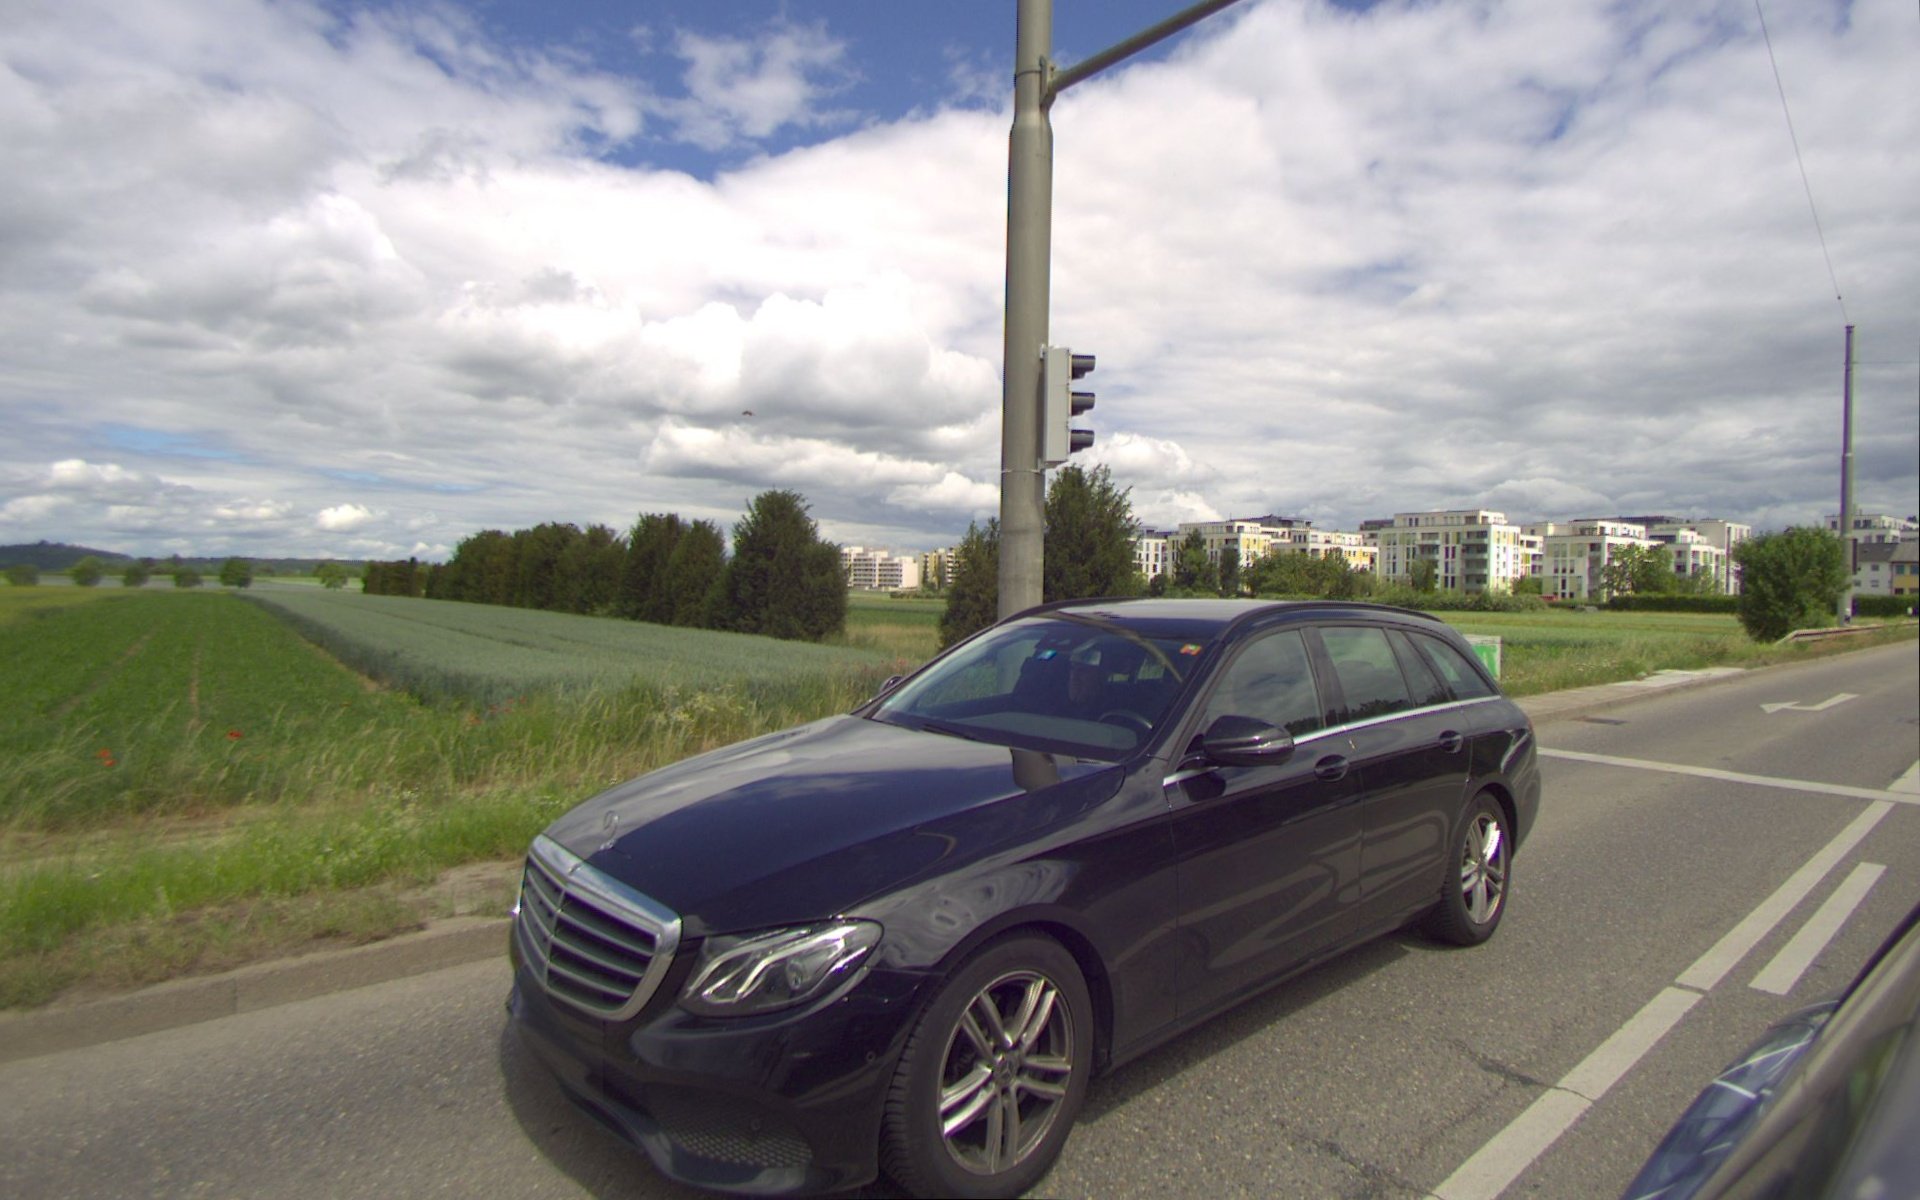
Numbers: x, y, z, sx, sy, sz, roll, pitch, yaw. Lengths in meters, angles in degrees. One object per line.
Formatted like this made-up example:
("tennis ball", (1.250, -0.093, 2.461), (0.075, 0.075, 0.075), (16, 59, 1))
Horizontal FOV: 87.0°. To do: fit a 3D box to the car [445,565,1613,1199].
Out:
("car", (0.857, 0.646, 4.269), (5.109, 1.459, 1.876), (0, 1, -42))
